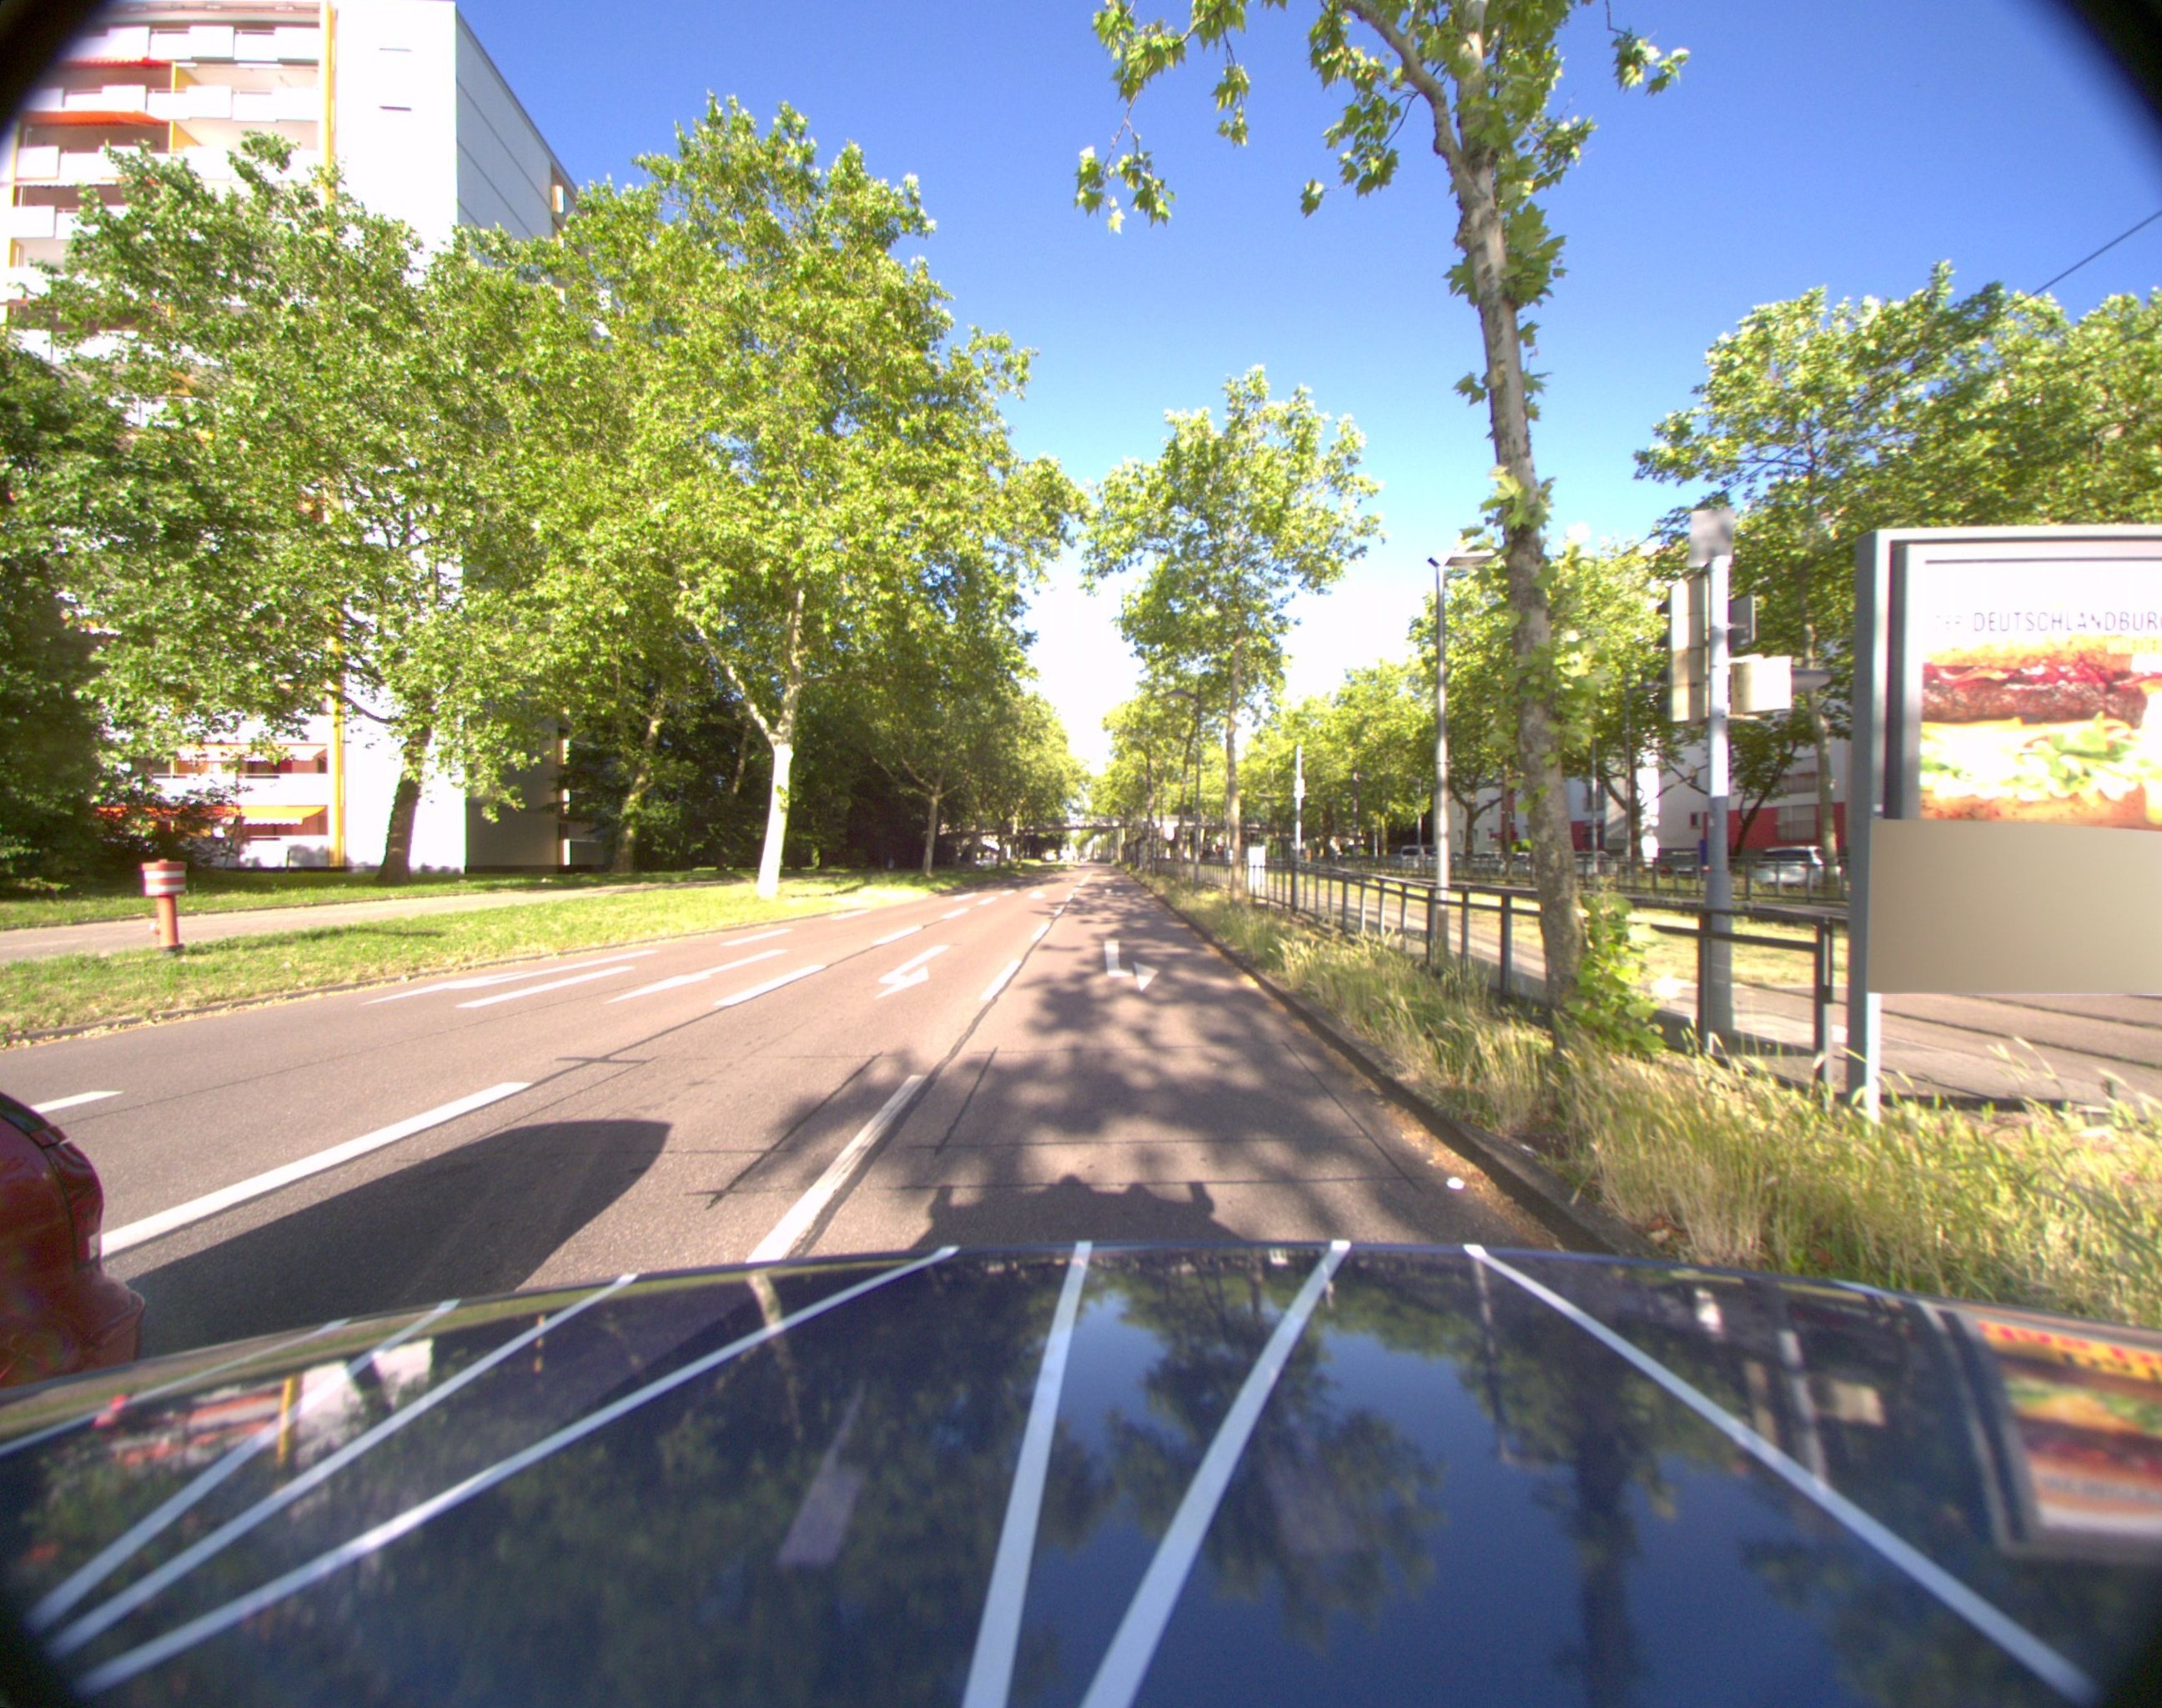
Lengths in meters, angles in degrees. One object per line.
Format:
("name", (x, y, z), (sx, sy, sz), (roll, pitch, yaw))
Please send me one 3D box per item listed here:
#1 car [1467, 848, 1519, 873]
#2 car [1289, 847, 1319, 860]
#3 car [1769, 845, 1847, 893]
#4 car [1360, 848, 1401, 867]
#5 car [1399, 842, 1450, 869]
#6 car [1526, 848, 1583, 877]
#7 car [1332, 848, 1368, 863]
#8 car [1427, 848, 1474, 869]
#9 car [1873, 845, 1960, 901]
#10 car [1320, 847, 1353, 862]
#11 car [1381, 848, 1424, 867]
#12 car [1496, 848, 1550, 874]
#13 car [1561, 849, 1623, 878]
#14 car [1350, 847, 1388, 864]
("car", (25.852, 0.399, 47.674), (3.811, 1.433, 1.652), (-2, 0, -42))
("car", (26.440, -0.045, 89.970), (3.811, 1.433, 1.652), (-2, 0, -42))
("car", (25.359, 0.491, 26.471), (3.811, 1.501, 1.652), (-2, 0, -42))
("car", (24.944, 0.274, 63.205), (3.811, 1.433, 1.652), (-2, 0, -42))
("car", (25.819, 0.091, 57.025), (4.330, 1.863, 1.836), (-2, 0, -42))
("car", (25.865, 0.445, 41.474), (3.811, 1.433, 1.652), (-2, 0, -42))
("car", (26.067, 0.136, 73.560), (3.811, 1.433, 1.652), (-2, 0, -42))
("car", (26.303, 0.312, 54.027), (3.811, 1.433, 1.652), (-2, 0, -42))
("car", (25.246, 0.526, 22.962), (3.811, 1.501, 1.652), (-2, 0, -42))
("car", (26.787, 0.048, 79.621), (3.811, 1.433, 1.652), (-2, 0, -42))
("car", (25.731, 0.272, 60.747), (3.811, 1.433, 1.652), (-2, 0, -42))
("car", (26.100, 0.409, 44.860), (3.811, 1.433, 1.652), (-2, 0, -42))
("car", (25.384, 0.450, 37.693), (3.811, 1.348, 1.652), (-2, 0, -42))
("car", (26.620, 0.138, 70.129), (3.811, 1.433, 1.652), (-2, 0, -42))
